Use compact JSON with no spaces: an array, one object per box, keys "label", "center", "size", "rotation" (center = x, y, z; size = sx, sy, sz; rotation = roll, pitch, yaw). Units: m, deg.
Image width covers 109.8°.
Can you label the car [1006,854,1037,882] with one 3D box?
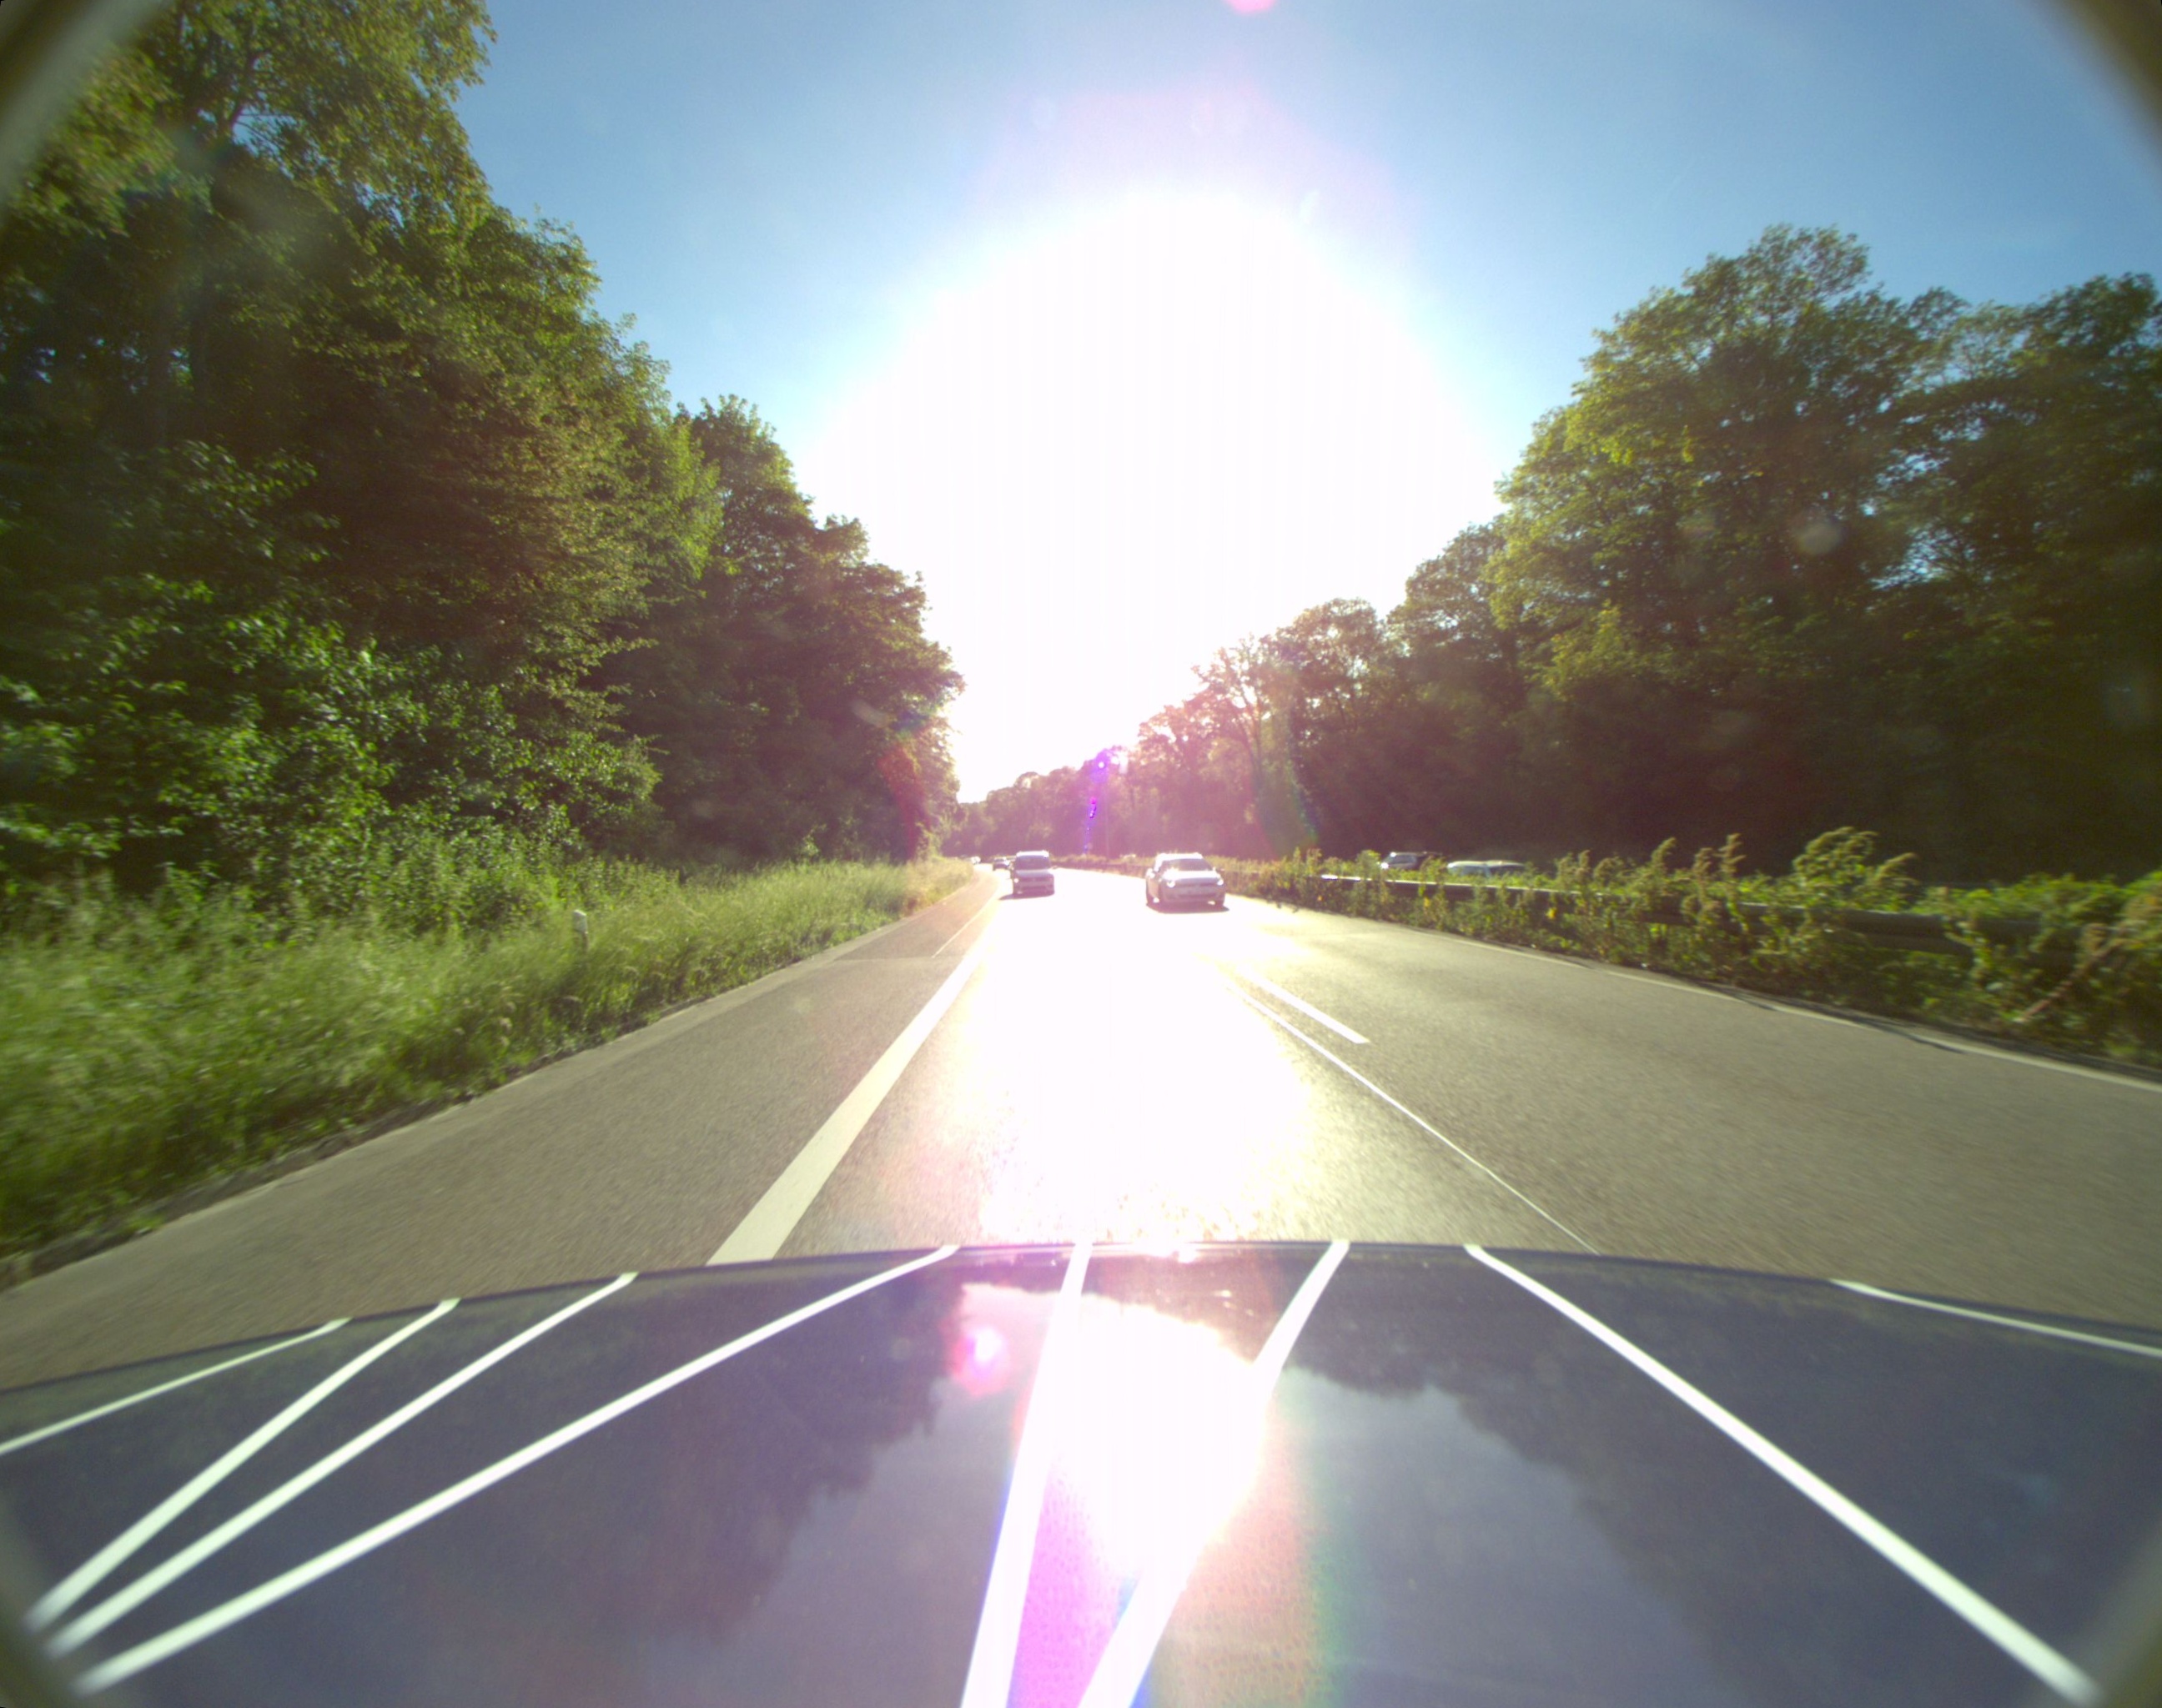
[{"label":"car","center":[-4.737,1.061,59.850],"size":[2.257,1.843,5.137],"rotation":[-3,3,-6]}]

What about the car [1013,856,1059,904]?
[{"label":"car","center":[-1.951,1.066,32.942],"size":[1.800,1.796,4.831],"rotation":[-2,1,-3]}]

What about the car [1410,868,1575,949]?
[{"label":"car","center":[11.560,1.432,21.778],"size":[2.090,2.002,4.533],"rotation":[-1,0,-2]}]

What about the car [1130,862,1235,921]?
[{"label":"car","center":[2.873,1.018,22.930],"size":[1.935,1.499,5.597],"rotation":[-2,0,-5]}]

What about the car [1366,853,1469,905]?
[{"label":"car","center":[14.605,1.020,33.309],"size":[2.053,2.002,4.759],"rotation":[-2,1,-5]}]

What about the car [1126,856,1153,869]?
[{"label":"car","center":[7.344,1.065,95.479],"size":[2.000,1.477,5.233],"rotation":[-3,1,-11]}]

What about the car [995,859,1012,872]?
[{"label":"car","center":[-9.569,1.386,93.733],"size":[1.935,1.499,5.083],"rotation":[-1,0,-7]}]
